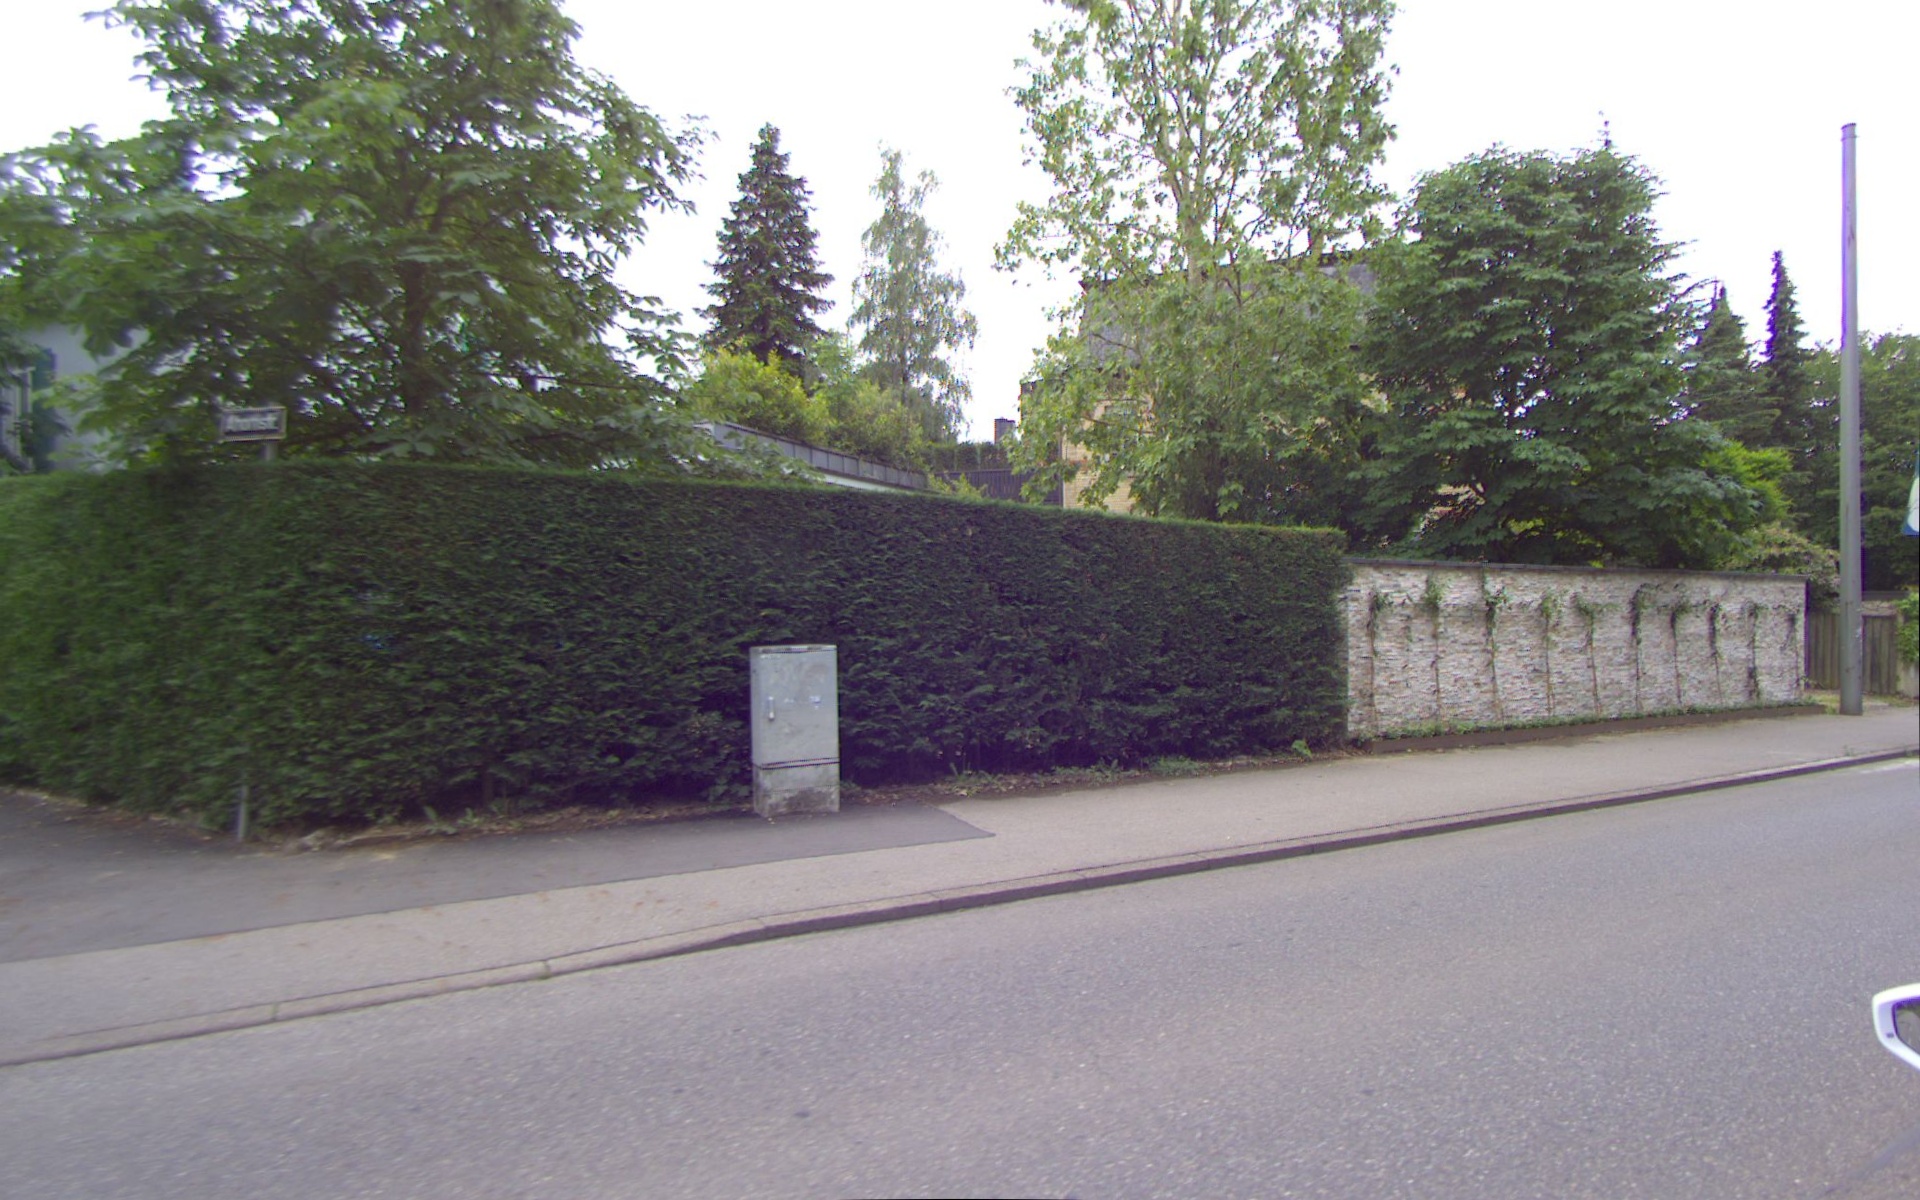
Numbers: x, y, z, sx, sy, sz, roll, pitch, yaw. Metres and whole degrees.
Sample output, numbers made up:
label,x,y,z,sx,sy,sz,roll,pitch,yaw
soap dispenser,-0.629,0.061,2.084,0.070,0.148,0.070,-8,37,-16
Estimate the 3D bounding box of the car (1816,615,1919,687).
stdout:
label,x,y,z,sx,sy,sz,roll,pitch,yaw
car,29.670,1.562,31.551,2.378,2.100,5.363,0,-2,18
